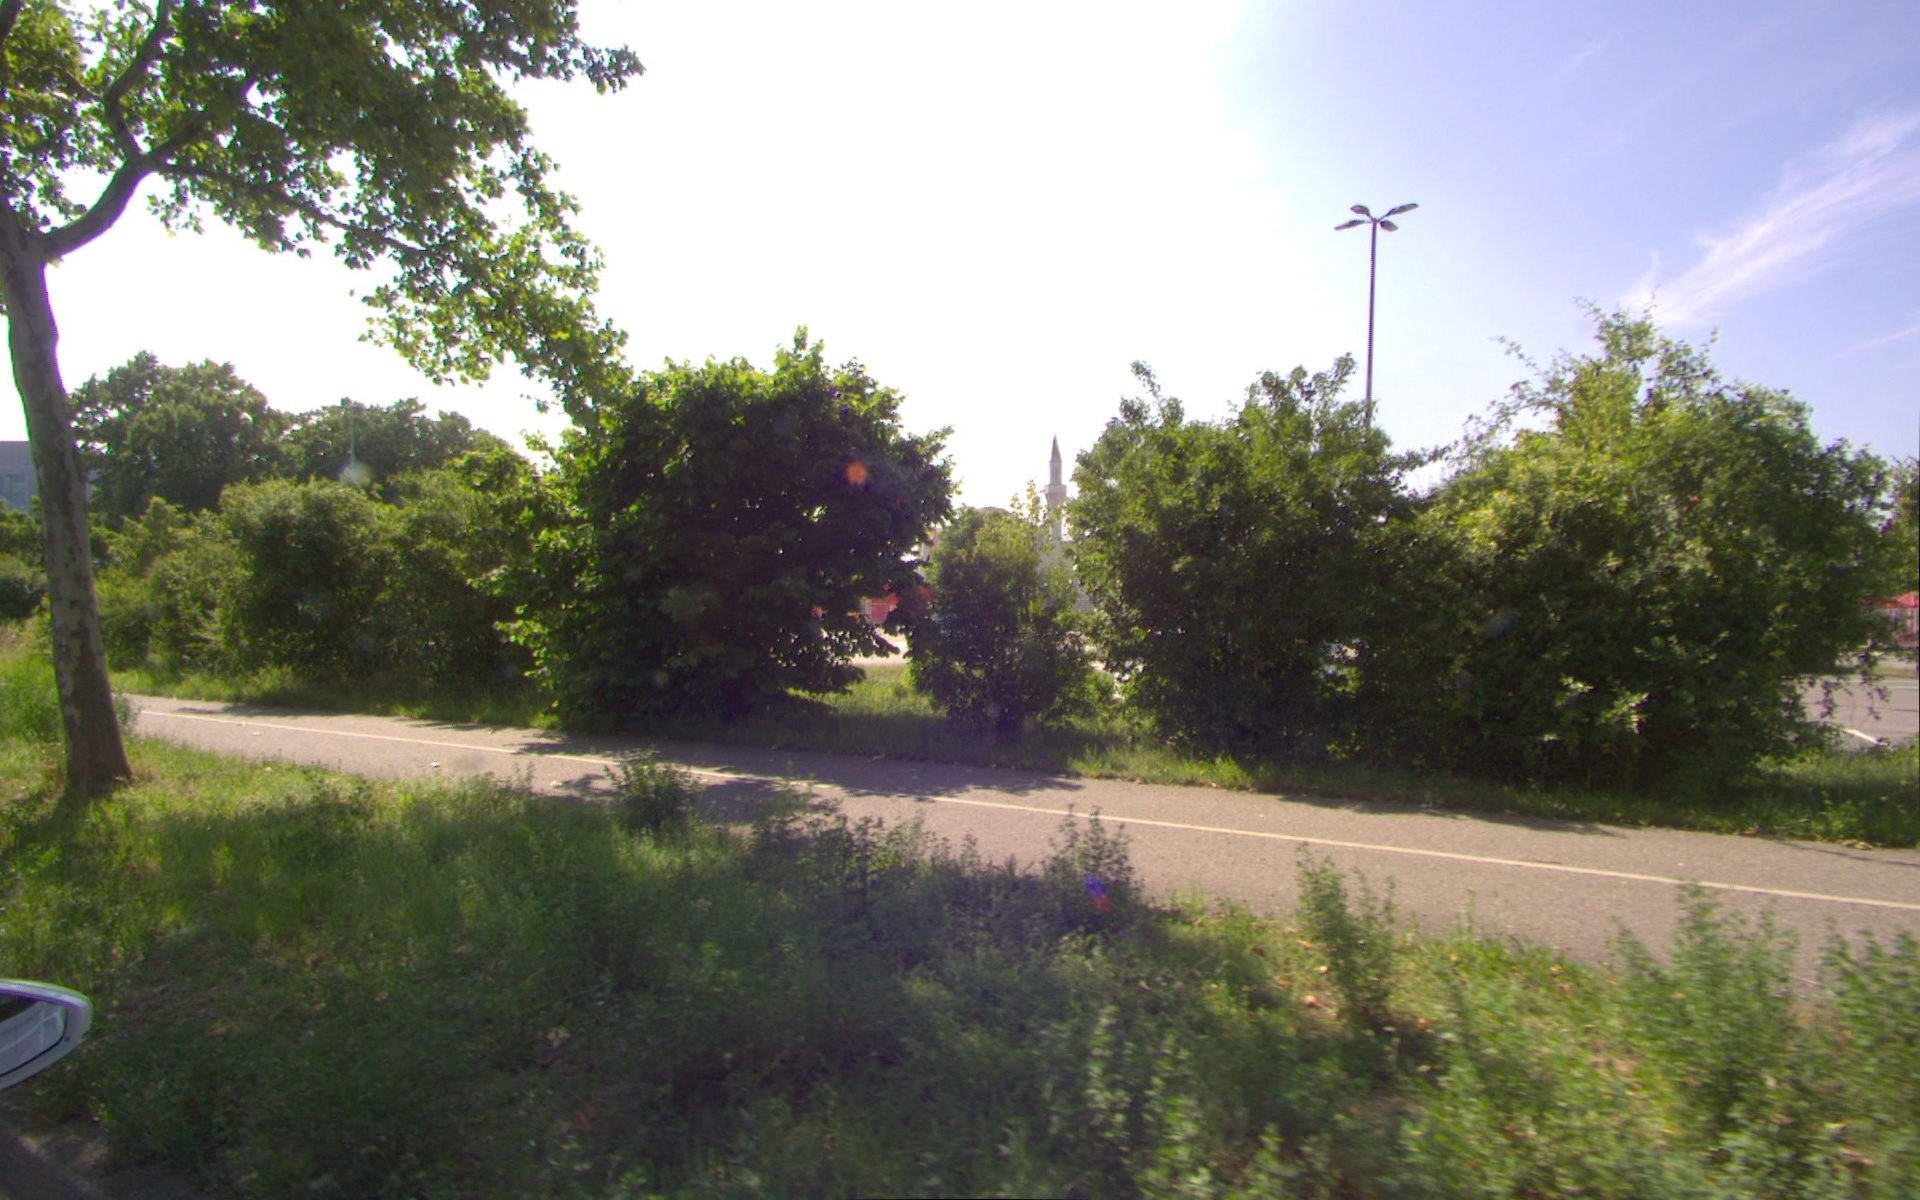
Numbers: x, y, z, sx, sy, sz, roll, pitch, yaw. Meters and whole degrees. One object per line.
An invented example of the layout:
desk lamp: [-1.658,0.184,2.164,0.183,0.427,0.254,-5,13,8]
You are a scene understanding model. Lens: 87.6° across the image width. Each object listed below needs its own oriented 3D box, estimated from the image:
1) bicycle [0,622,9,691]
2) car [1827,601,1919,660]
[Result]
bicycle: [-19.426,1.087,19.569,2.066,1.315,0.721,-1,-1,32]
car: [47.371,1.574,50.720,5.182,2.889,2.306,1,-1,-6]
